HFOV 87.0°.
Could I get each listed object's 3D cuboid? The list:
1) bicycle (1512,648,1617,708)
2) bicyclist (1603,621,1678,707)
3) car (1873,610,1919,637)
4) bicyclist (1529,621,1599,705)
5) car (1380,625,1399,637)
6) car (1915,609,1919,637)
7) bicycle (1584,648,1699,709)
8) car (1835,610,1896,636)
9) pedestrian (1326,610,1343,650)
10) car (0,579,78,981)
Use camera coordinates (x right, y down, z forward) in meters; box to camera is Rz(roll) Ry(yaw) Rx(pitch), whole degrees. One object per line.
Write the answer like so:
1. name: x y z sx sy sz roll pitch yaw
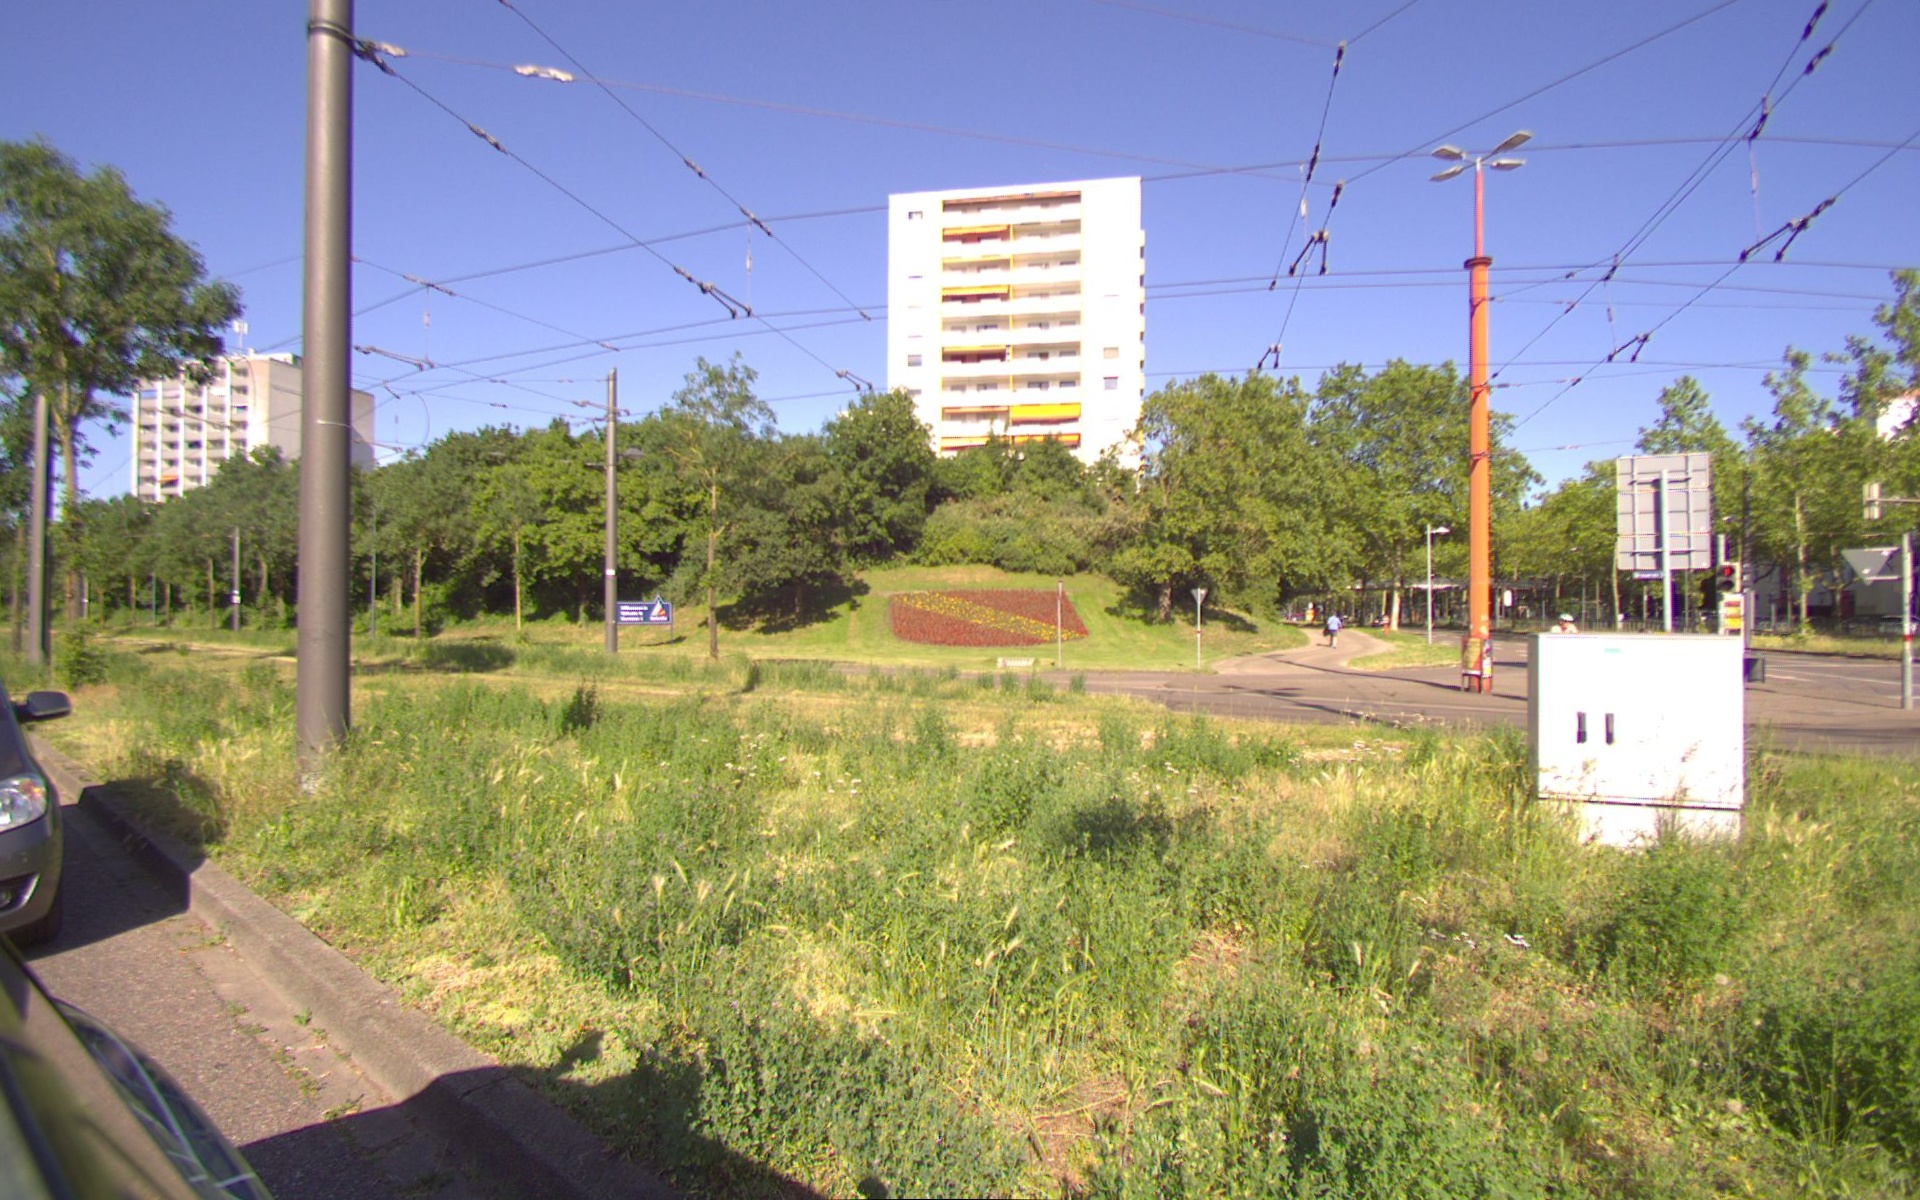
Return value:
1. bicycle: 12.090 1.532 20.314 0.915 1.095 1.888 0 -1 -2
2. bicyclist: 13.352 1.238 19.878 0.920 1.650 0.741 0 -1 -1
3. car: 65.247 1.639 69.861 3.931 1.829 2.006 1 -2 -27
4. bicyclist: 12.094 1.255 20.297 0.920 1.650 0.741 0 -1 -1
5. car: 55.066 3.964 129.815 1.928 1.606 3.882 -1 -1 20
6. car: 64.404 1.502 65.899 3.931 1.829 2.006 1 -2 -27
7. bicycle: 13.355 1.517 19.912 0.915 1.095 1.888 0 -1 -2
8. car: 66.015 1.696 73.757 3.931 1.829 2.006 1 -2 -27
9. pedestrian: 18.279 1.471 49.413 0.729 1.949 0.726 -1 -2 24
10. car: -5.942 0.751 5.039 4.382 1.619 1.754 -1 -2 41
